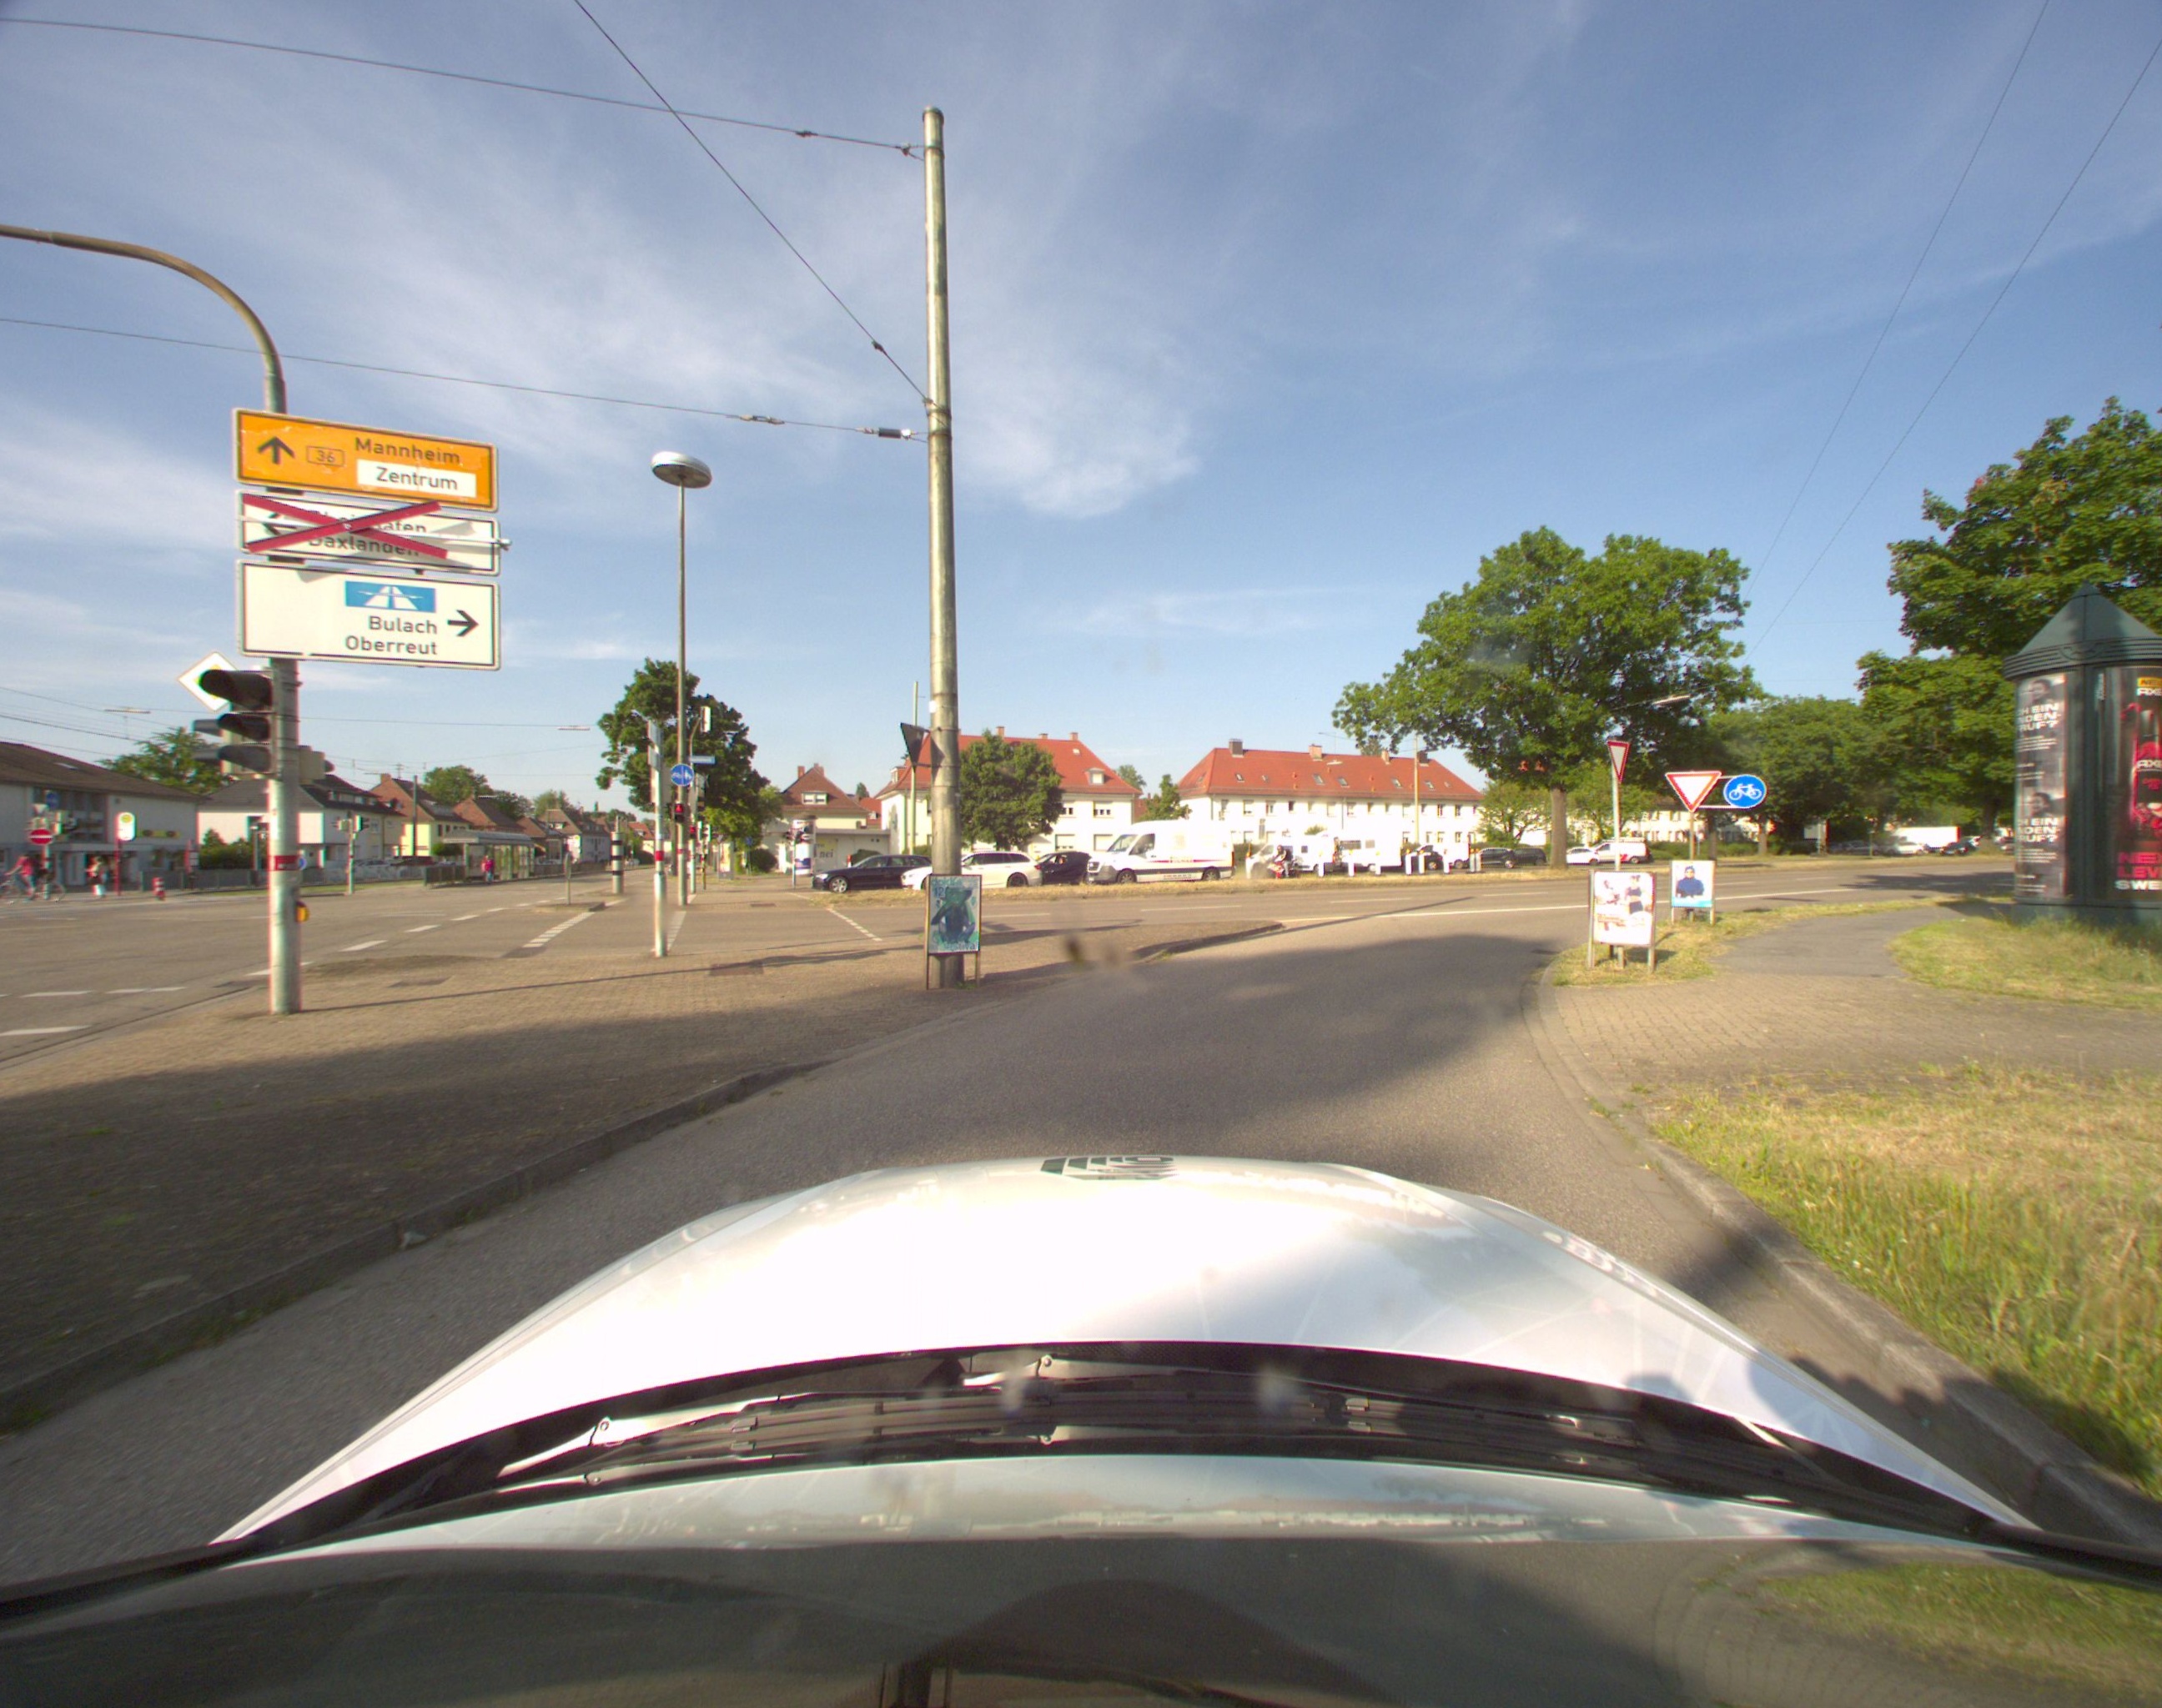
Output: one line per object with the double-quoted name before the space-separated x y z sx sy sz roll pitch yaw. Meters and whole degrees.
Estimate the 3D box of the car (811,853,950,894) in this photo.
"car" -7.484 0.687 30.492 4.845 1.411 1.702 -1 0 -24

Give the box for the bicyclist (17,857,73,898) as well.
"bicyclist" -37.211 0.850 29.263 0.890 1.431 1.125 1 -2 -33

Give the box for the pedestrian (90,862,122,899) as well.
"pedestrian" -38.304 1.029 32.001 0.580 1.431 0.543 1 -2 -21

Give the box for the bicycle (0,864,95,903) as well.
"bicycle" -37.256 1.061 29.239 2.088 1.348 1.097 1 -2 -34

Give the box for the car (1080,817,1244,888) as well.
"car" 3.190 -0.091 31.698 6.237 2.583 1.984 -1 0 -24

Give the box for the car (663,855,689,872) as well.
"car" -33.456 0.809 67.316 1.682 1.398 3.968 1 -1 -24

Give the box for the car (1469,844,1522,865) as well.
"car" 31.606 0.057 62.200 3.457 1.514 1.907 -1 0 24

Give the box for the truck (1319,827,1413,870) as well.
"truck" 19.734 -0.350 56.547 6.009 2.854 1.905 -1 0 19

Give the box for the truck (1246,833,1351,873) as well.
"truck" 14.237 -0.079 53.440 6.276 2.524 2.292 0 0 31

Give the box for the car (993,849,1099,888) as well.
"car" -1.433 0.561 33.302 4.005 1.453 1.702 -1 0 -24

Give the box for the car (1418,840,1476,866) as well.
"car" 27.548 -0.072 61.385 3.864 1.920 1.905 -1 0 20

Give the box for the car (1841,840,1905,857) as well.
"car" 85.028 -0.561 87.457 4.486 1.723 2.011 -1 0 22

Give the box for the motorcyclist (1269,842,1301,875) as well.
"motorcyclist" 8.282 0.179 33.117 1.071 1.352 0.674 0 0 -25

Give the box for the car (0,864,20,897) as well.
"car" -49.535 1.211 35.531 2.003 1.508 4.570 0 0 -25

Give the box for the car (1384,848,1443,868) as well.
"car" 24.424 0.289 60.011 3.866 1.456 1.904 -1 0 16

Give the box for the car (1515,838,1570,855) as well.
"car" 49.890 -0.801 88.220 2.003 1.719 4.939 -1 0 -25

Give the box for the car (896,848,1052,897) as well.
"car" -3.727 0.609 28.445 5.118 1.563 1.825 -1 0 -24

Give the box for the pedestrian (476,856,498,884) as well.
"pedestrian" -32.625 0.896 44.759 0.756 1.499 0.821 1 -2 -22

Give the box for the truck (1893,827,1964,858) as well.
"truck" 99.292 -1.318 95.497 5.446 3.465 2.008 -1 0 15

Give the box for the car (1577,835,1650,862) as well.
"car" 45.480 -0.448 69.697 4.922 2.232 2.010 -1 0 20

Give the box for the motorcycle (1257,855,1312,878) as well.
"motorcycle" 8.287 0.494 33.122 2.282 0.866 0.685 -1 0 -26

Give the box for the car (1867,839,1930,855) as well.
"car" 90.111 -0.741 89.867 4.486 1.723 2.011 -1 0 22

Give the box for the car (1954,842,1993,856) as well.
"car" 89.812 -0.501 81.982 4.010 1.353 1.700 -1 0 -28

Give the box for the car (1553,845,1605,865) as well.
"car" 40.709 0.091 66.618 3.391 1.514 1.907 -1 0 24
